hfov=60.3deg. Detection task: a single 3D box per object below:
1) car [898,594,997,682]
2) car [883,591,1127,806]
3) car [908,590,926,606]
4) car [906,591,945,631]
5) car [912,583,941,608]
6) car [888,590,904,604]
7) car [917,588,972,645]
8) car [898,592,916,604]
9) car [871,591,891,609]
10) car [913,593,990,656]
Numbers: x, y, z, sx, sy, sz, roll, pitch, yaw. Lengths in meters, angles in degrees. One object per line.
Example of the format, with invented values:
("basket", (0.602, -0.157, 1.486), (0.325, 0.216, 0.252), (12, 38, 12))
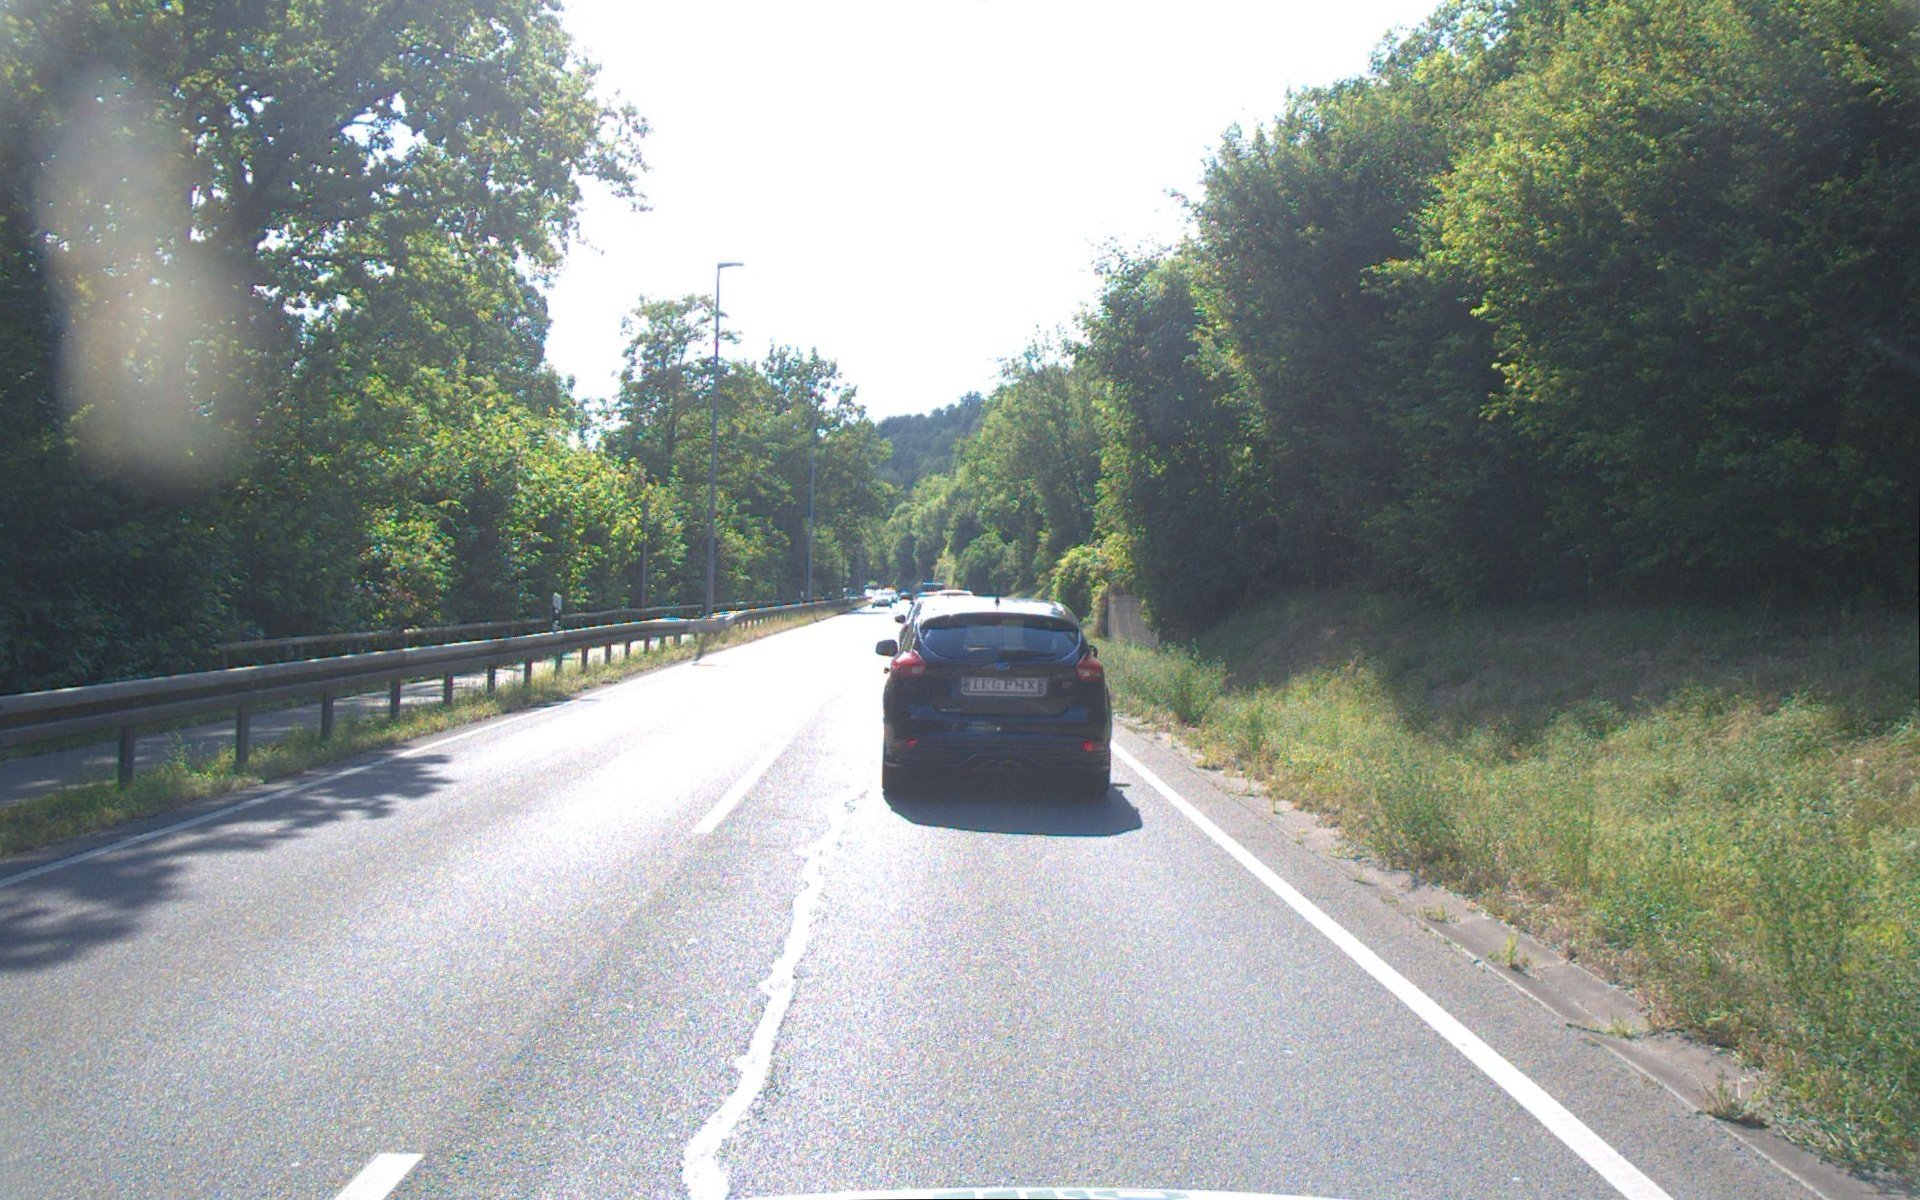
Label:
("car", (-0.187, 0.624, 29.490), (1.627, 1.443, 4.000), (1, 0, 1))
("car", (0.294, 0.698, 13.705), (1.704, 1.482, 3.999), (1, 0, -1))
("car", (-4.365, -0.222, 167.597), (1.782, 1.545, 3.999), (0, 0, -1))
("car", (-1.432, 0.428, 69.765), (1.597, 1.624, 3.999), (0, 0, -1))
("car", (-2.497, -0.340, 122.097), (1.826, 1.812, 3.996), (0, 0, -5))
("car", (-6.904, -0.353, 178.821), (1.647, 1.489, 4.196), (1, 0, -2))
("car", (-0.474, 0.465, 49.714), (1.597, 1.624, 3.999), (0, 0, -1))
("car", (-7.089, -0.255, 222.353), (1.956, 1.545, 3.992), (0, 0, -8))
("car", (-6.586, -0.018, 137.716), (1.590, 1.401, 4.046), (-1, 0, -1))
("car", (-0.221, 0.548, 39.951), (1.768, 1.416, 3.999), (0, 0, -1))
